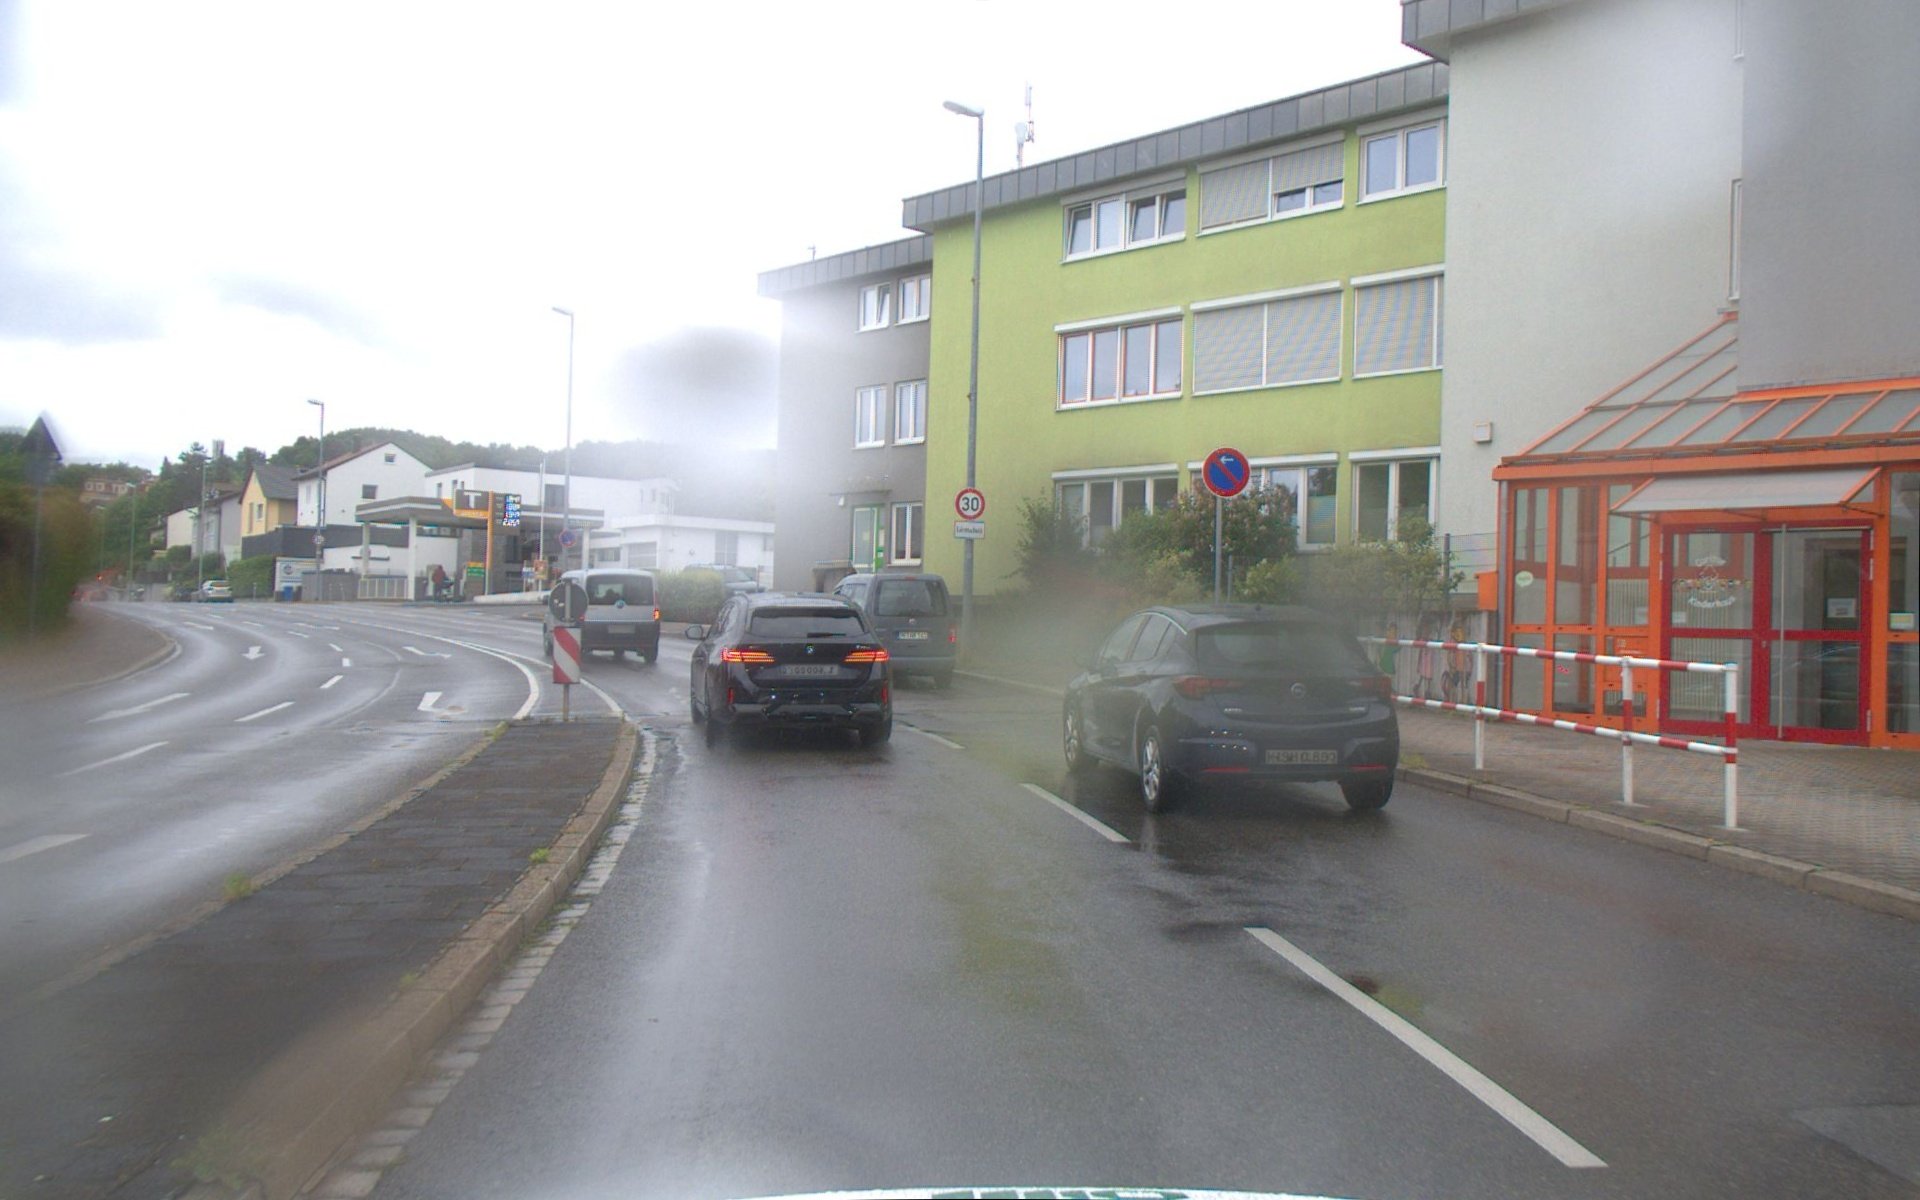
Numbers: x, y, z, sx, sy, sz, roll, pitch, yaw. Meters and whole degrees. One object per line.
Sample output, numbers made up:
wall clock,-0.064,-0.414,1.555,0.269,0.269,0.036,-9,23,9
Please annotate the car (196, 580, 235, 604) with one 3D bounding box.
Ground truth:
car,-50.610,-0.505,112.436,1.685,1.536,4.480,1,-2,-34

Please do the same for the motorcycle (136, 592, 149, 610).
motorcycle,-69.922,0.105,141.397,0.697,1.536,2.125,-2,0,-33

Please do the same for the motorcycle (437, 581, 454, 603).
motorcycle,-26.924,-0.414,86.539,0.458,1.074,1.374,1,-2,-33

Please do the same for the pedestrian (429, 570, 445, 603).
pedestrian,-27.324,-0.715,86.411,0.604,1.685,0.579,1,-2,-33

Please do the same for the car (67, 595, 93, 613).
car,-89.918,0.423,168.971,1.976,1.771,3.953,1,-2,-34

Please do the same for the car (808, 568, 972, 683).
car,-1.264,0.448,28.008,1.809,1.798,3.980,1,-1,-17

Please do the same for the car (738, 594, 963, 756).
car,-1.283,0.756,17.595,1.957,1.510,3.990,1,-1,-10

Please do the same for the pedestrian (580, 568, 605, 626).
pedestrian,-13.141,-0.094,59.189,0.708,2.049,0.608,1,-2,-31

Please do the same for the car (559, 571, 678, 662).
car,-7.173,0.377,34.478,1.963,1.768,3.978,1,-1,-18

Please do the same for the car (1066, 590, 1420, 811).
car,2.048,0.722,13.124,1.723,1.475,3.994,1,-1,-7
